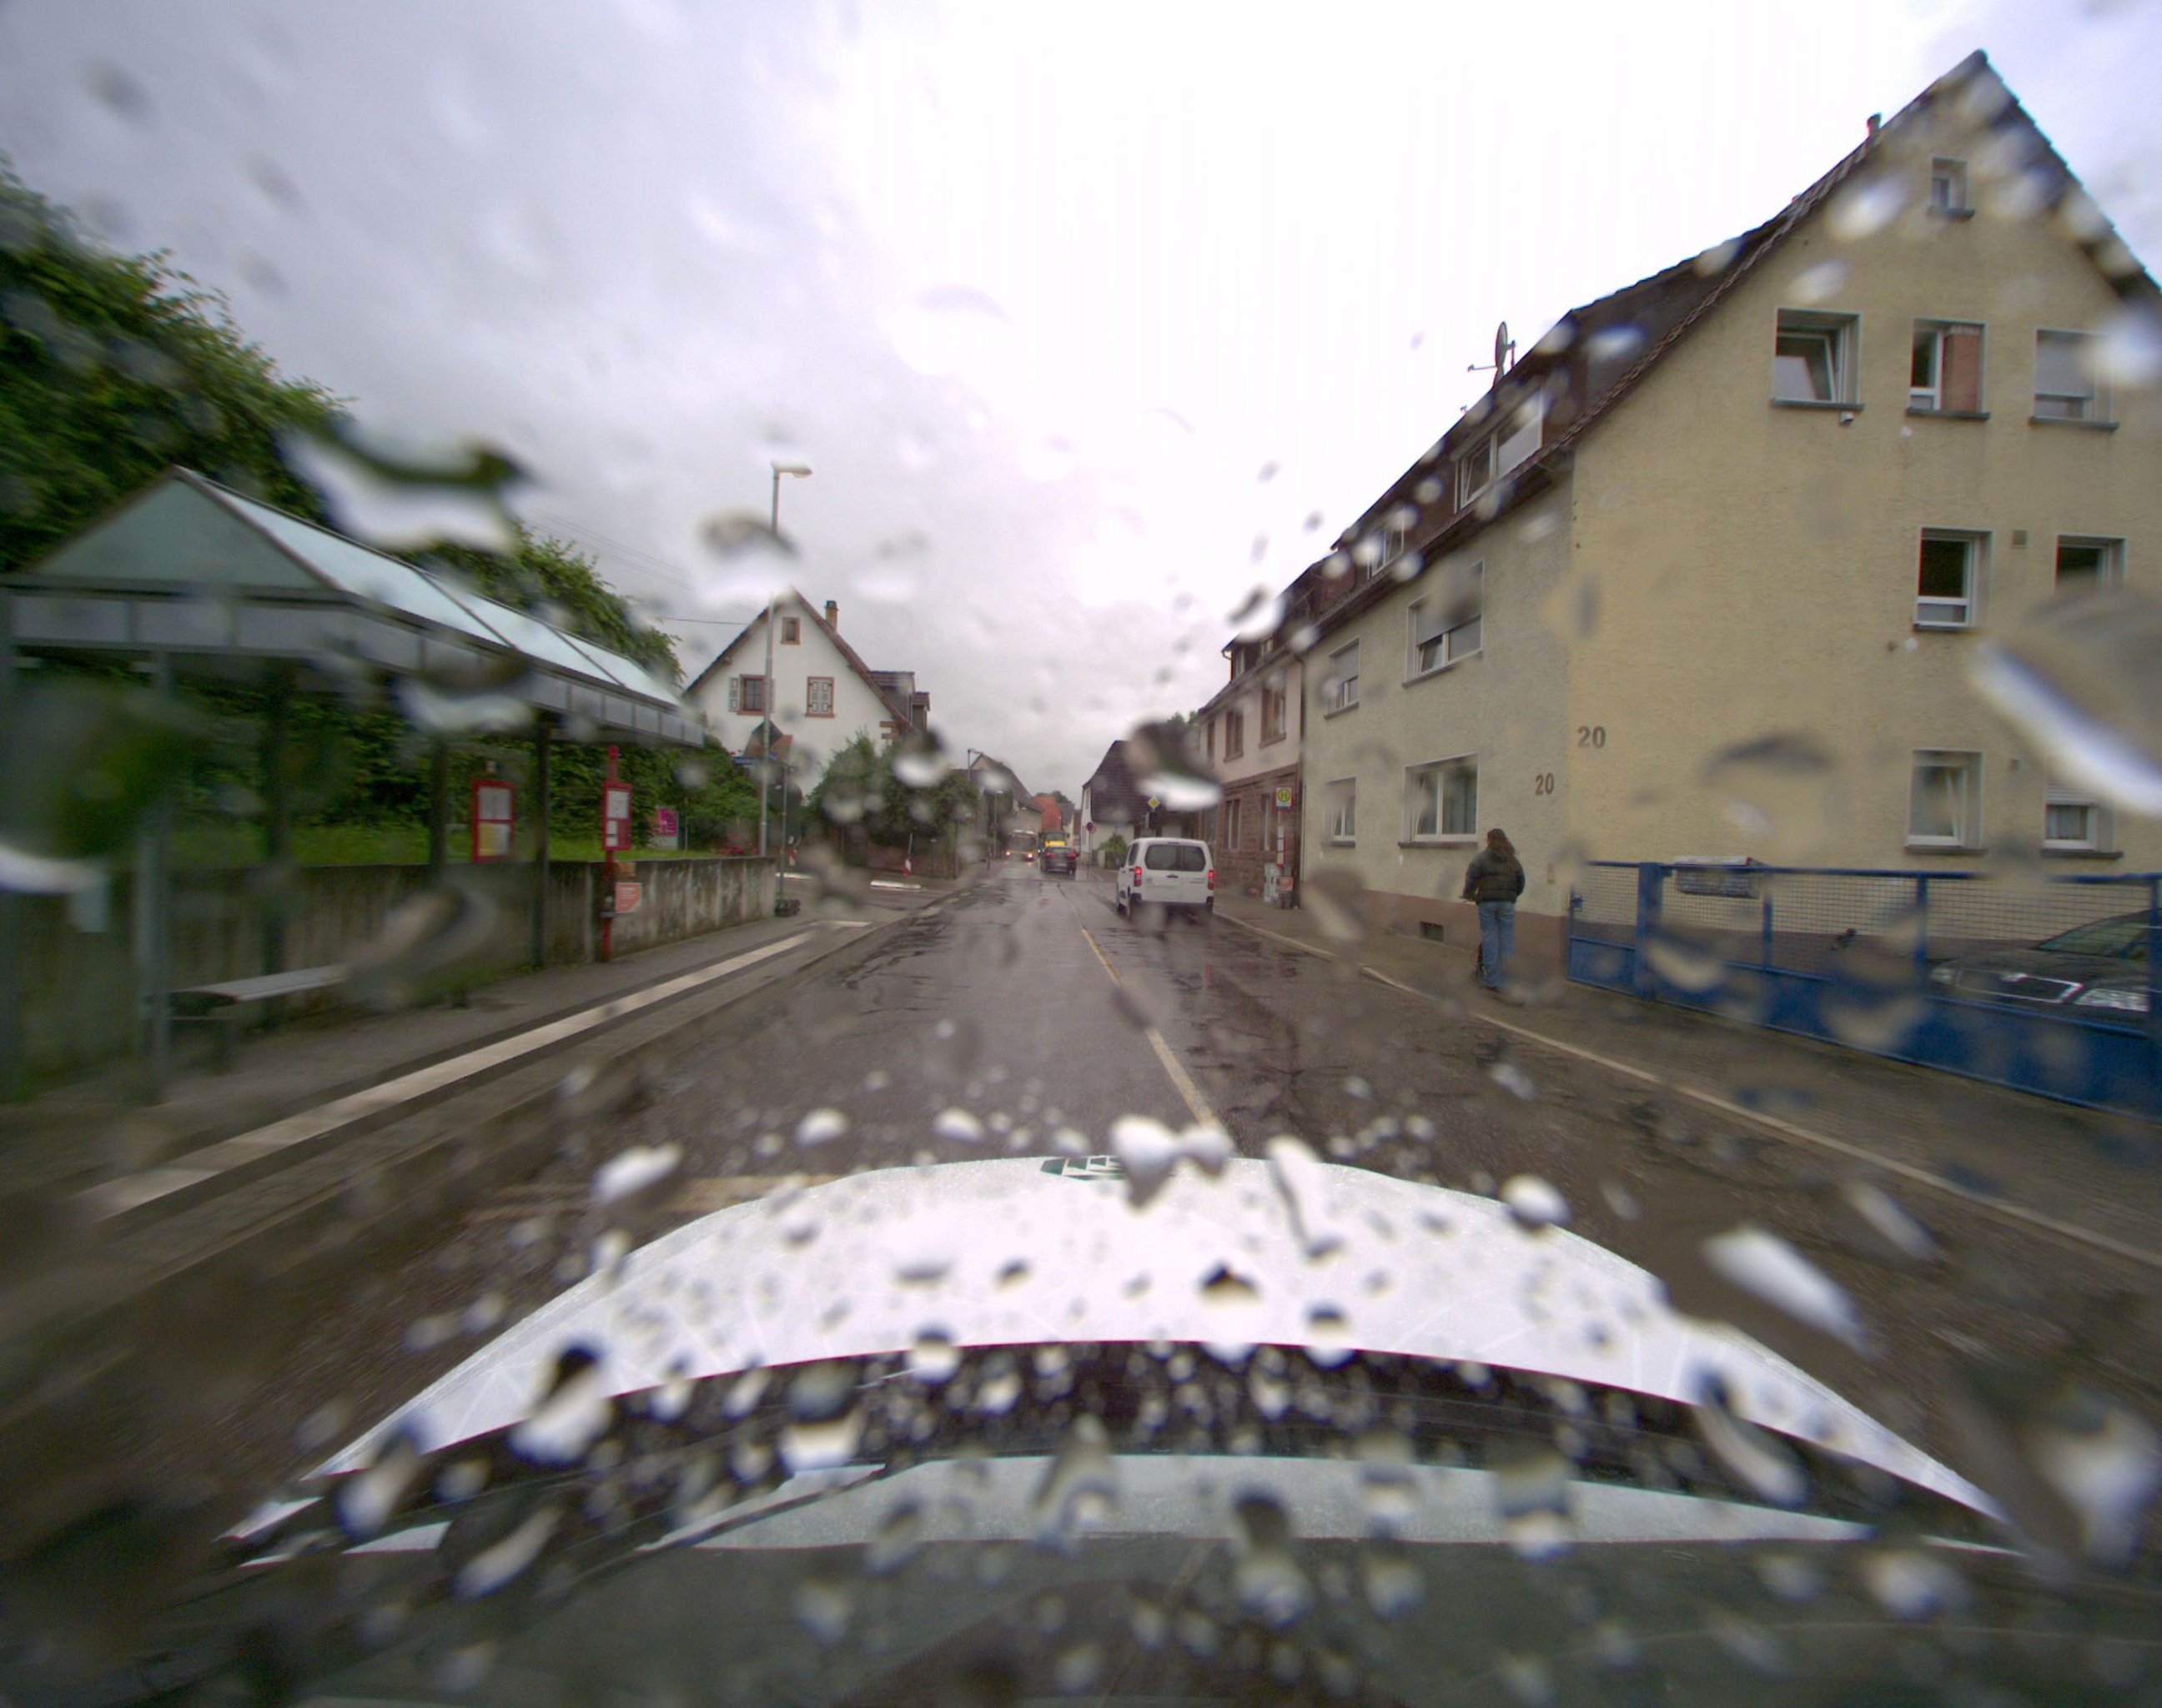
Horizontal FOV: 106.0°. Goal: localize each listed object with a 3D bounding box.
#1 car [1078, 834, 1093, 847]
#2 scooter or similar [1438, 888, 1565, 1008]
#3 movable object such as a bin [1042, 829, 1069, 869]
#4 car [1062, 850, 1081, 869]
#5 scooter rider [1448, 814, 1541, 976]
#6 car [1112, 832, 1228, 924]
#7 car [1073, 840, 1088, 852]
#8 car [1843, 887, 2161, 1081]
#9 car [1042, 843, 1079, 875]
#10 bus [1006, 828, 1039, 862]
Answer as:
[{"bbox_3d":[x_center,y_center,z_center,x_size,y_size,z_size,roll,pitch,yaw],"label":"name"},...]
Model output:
[{"bbox_3d":[0.641,-1.859,112.297,1.843,1.794,4.003,0,0,3],"label":"car"},{"bbox_3d":[4.600,0.986,9.012,0.619,1.127,1.401,2,1,-2],"label":"scooter or similar"},{"bbox_3d":[-1.858,-0.353,58.230,1.723,2.653,3.969,3,1,-4],"label":"movable object such as a bin"},{"bbox_3d":[-0.980,0.587,89.239,1.889,1.948,4.002,0,0,2],"label":"car"},{"bbox_3d":[4.585,0.442,9.060,0.729,1.733,0.518,2,0,-2],"label":"scooter rider"},{"bbox_3d":[1.884,0.466,18.482,1.891,1.793,3.808,3,1,-4],"label":"car"},{"bbox_3d":[-0.102,-1.311,137.317,1.983,2.013,4.007,0,0,7],"label":"car"},{"bbox_3d":[9.511,1.144,7.064,4.136,1.302,1.909,5,0,-4],"label":"car"},{"bbox_3d":[-1.183,0.228,44.688,1.806,1.596,3.751,3,1,-4],"label":"car"},{"bbox_3d":[-5.952,-1.057,83.960,2.642,2.999,12.188,2,2,-1],"label":"bus"}]
